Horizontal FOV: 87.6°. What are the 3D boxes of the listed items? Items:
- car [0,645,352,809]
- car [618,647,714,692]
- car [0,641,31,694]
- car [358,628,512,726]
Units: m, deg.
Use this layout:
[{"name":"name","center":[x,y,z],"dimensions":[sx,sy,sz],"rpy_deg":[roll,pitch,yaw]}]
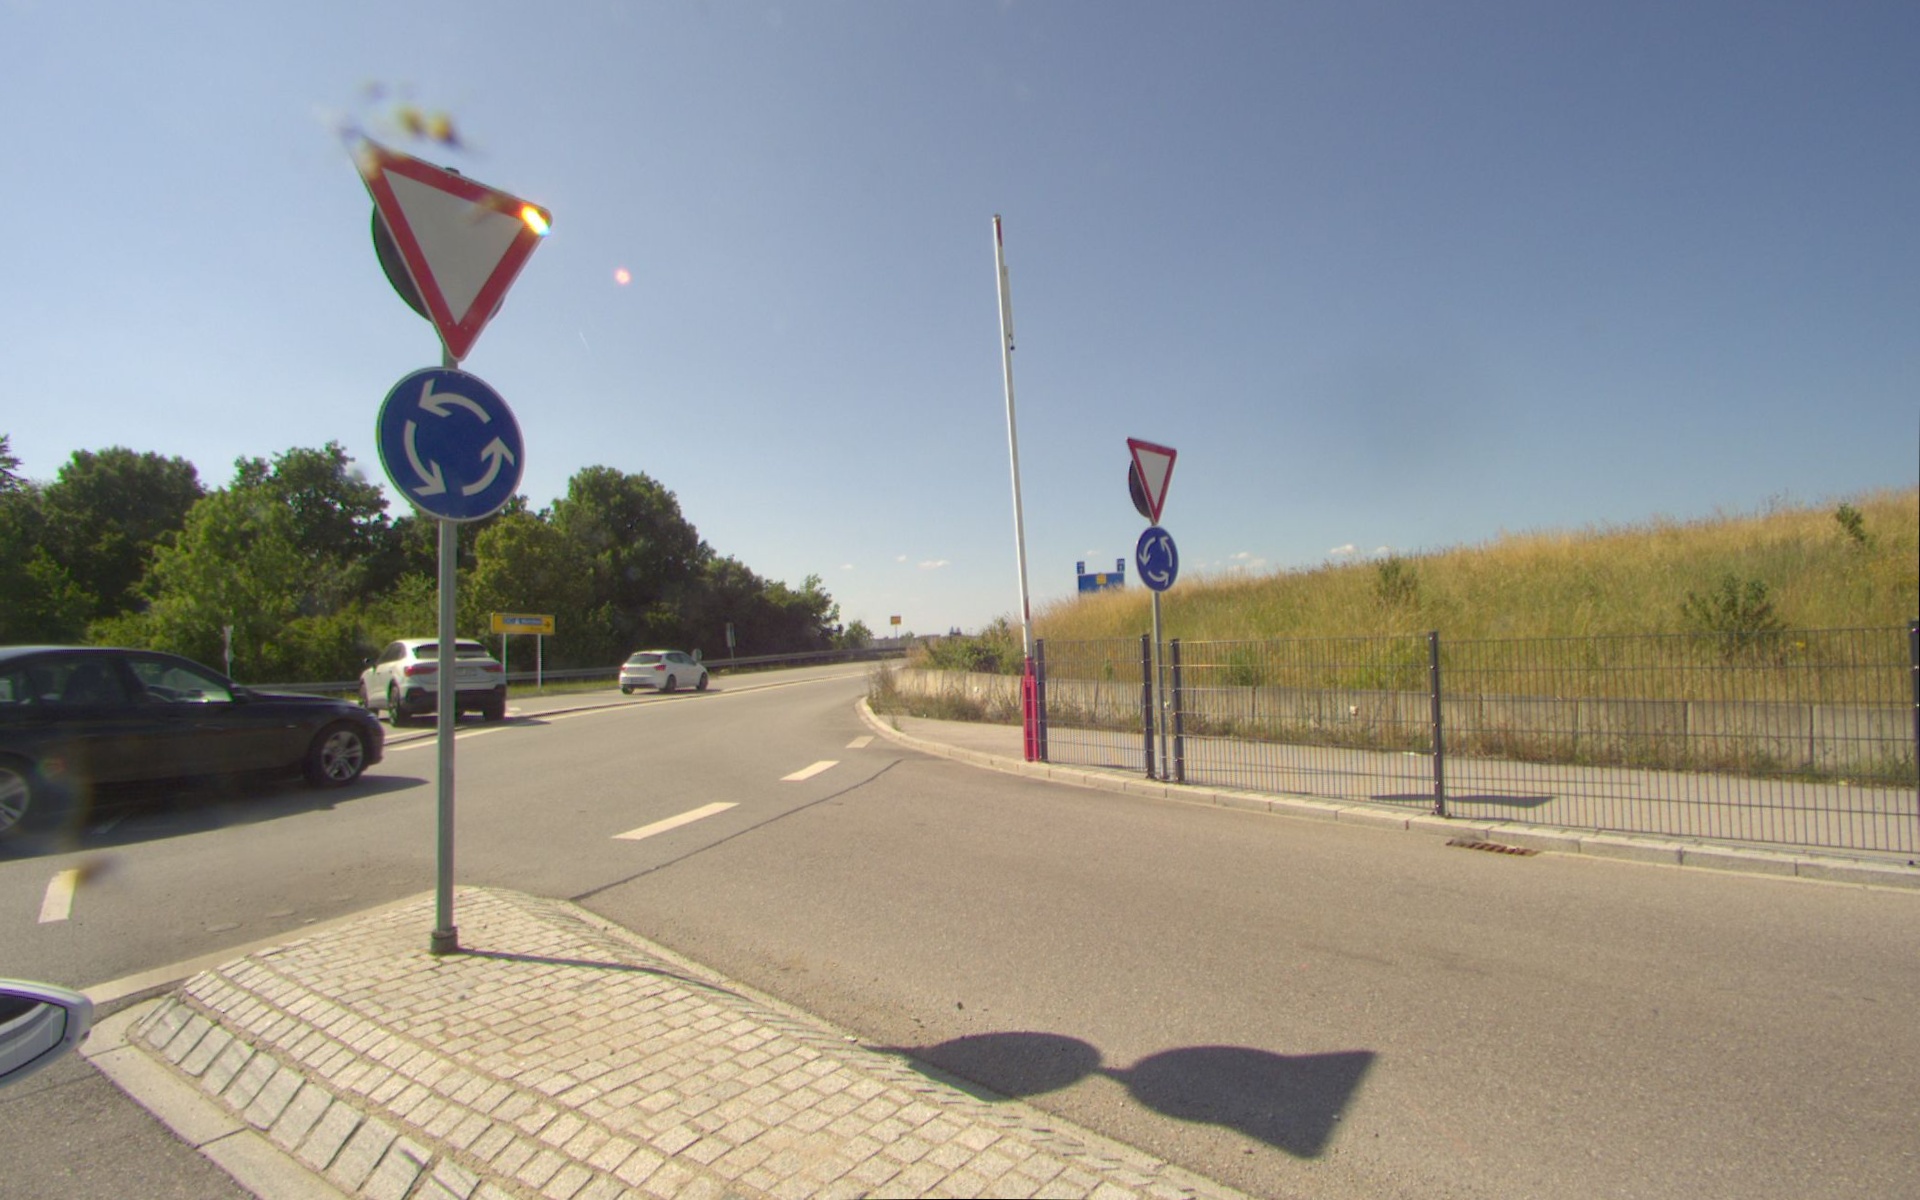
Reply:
[{"name":"car","center":[-7.463,0.980,8.382],"dimensions":[1.648,1.197,3.857],"rpy_deg":[-1,-3,22]},{"name":"car","center":[-10.100,2.359,34.704],"dimensions":[1.757,1.422,4.419],"rpy_deg":[-1,-3,4]},{"name":"car","center":[-30.493,2.101,29.663],"dimensions":[4.204,1.549,1.793],"rpy_deg":[-3,-2,-2]},{"name":"car","center":[-10.101,1.388,19.103],"dimensions":[1.826,1.616,4.292],"rpy_deg":[0,-2,-39]}]
